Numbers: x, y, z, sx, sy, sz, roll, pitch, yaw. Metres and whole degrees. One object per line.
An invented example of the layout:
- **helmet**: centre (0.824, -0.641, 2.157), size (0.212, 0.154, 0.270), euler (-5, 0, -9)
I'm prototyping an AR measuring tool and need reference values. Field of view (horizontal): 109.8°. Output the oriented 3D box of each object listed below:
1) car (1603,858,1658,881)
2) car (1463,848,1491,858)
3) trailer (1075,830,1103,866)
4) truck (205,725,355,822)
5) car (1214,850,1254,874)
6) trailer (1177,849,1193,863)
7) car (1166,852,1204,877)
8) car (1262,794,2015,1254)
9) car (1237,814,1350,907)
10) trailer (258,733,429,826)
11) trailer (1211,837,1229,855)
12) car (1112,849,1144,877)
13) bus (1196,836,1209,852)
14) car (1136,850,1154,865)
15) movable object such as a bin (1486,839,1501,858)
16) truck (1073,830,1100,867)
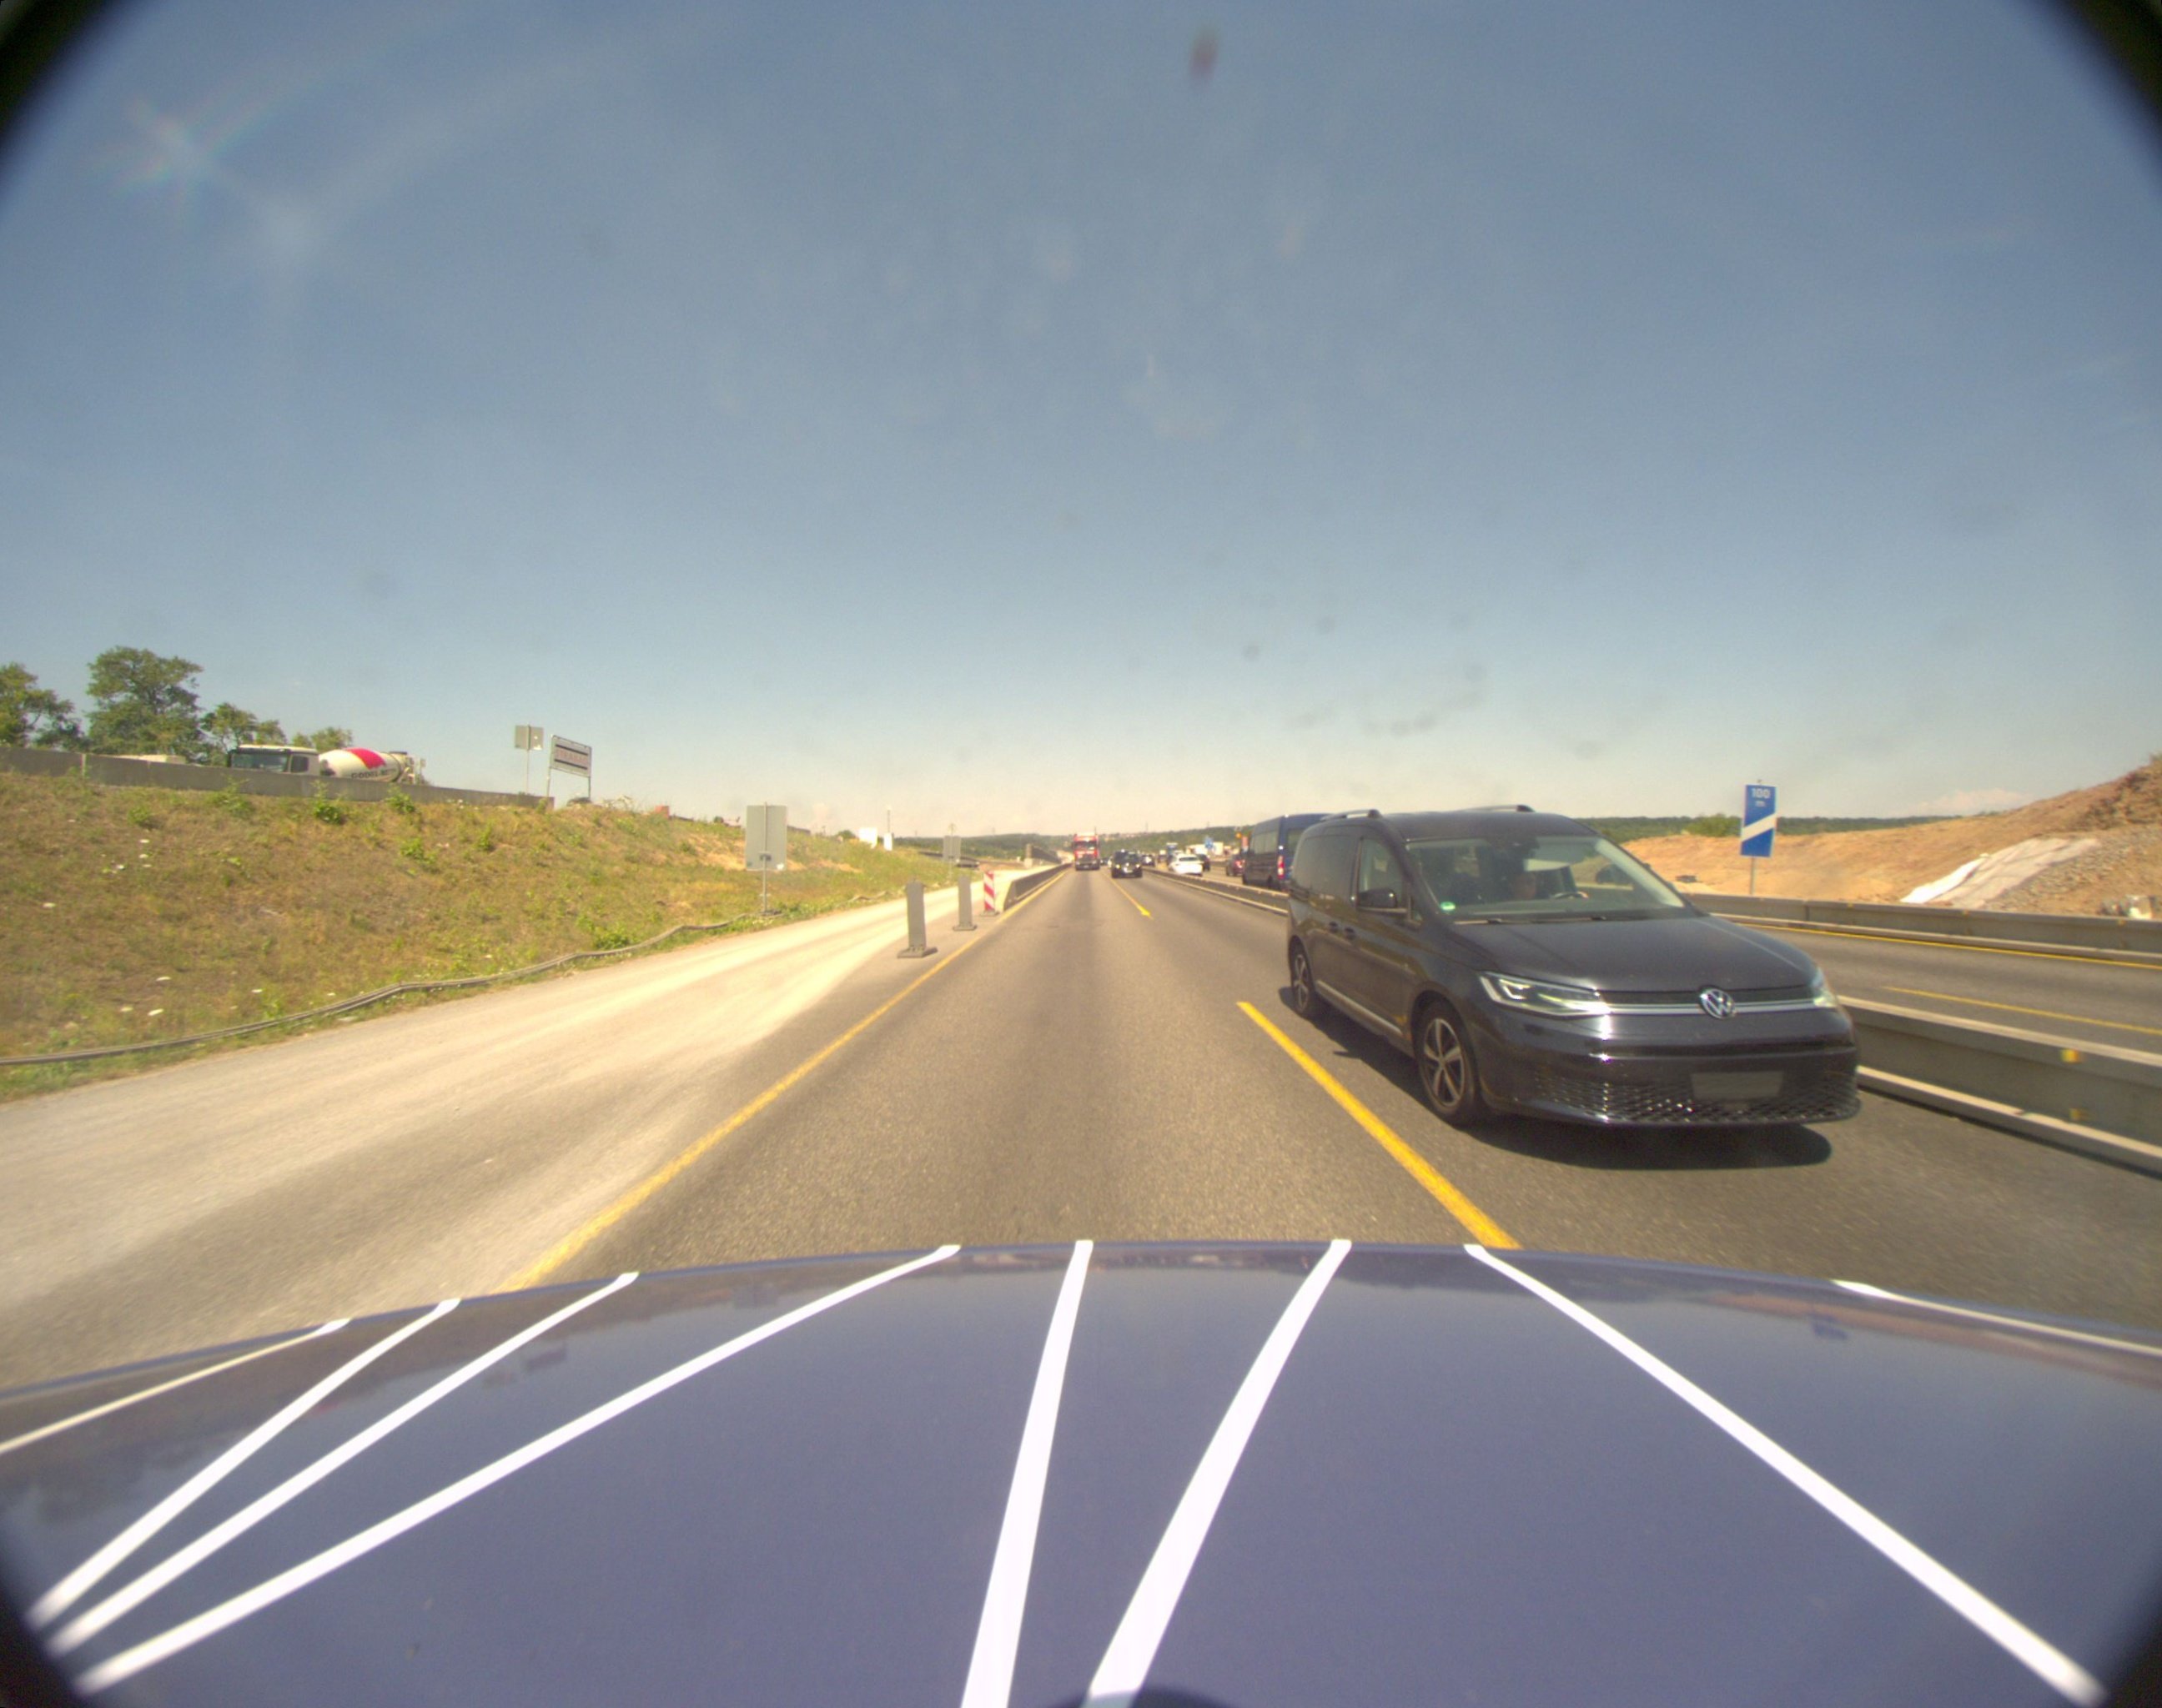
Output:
- **car**: centre (49.382, 1.348, 68.381), size (1.998, 2.002, 4.000), euler (-1, 0, 1)
- **car**: centre (57.903, -0.208, 111.161), size (1.616, 1.401, 4.445), euler (-1, 0, -1)
- **trailer**: centre (1.015, -0.616, 88.512), size (2.701, 3.852, 12.424), euler (-1, 0, 3)
- **truck**: centre (-37.077, -3.611, 35.376), size (2.754, 4.072, 4.097), euler (-1, 0, -8)
- **car**: centre (9.843, 0.491, 49.078), size (1.729, 1.470, 4.393), euler (-1, 0, 0)
- **trailer**: centre (15.166, 0.254, 110.905), size (2.135, 1.970, 5.237), euler (0, 0, 6)
- **car**: centre (6.373, 0.611, 46.930), size (1.682, 1.433, 4.671), euler (-1, 0, 0)
- **car**: centre (2.778, 0.678, 5.339), size (1.926, 1.779, 4.603), euler (-2, 0, 1)
- **car**: centre (6.223, 0.163, 22.977), size (1.960, 2.453, 5.357), euler (-1, 0, 1)
- **trailer**: centre (-37.600, -3.637, 39.136), size (2.765, 4.090, 6.740), euler (-1, 0, -8)
- **trailer**: centre (33.167, -1.903, 180.673), size (2.763, 4.090, 13.994), euler (-1, 0, 17)
- **car**: centre (3.113, 0.598, 51.063), size (1.799, 1.776, 3.999), euler (-1, 0, -1)
- **bus**: centre (24.591, -1.911, 153.744), size (2.353, 3.107, 7.233), euler (-1, 0, 8)
- **car**: centre (7.655, 0.400, 90.774), size (1.776, 1.731, 5.038), euler (-1, 0, 1)
- **movable object such as a bin**: centre (68.944, -0.984, 127.097), size (1.995, 3.122, 4.493), euler (-1, 0, 25)
- **truck**: centre (0.673, -0.581, 81.983), size (2.626, 3.880, 4.934), euler (-1, 0, 3)
